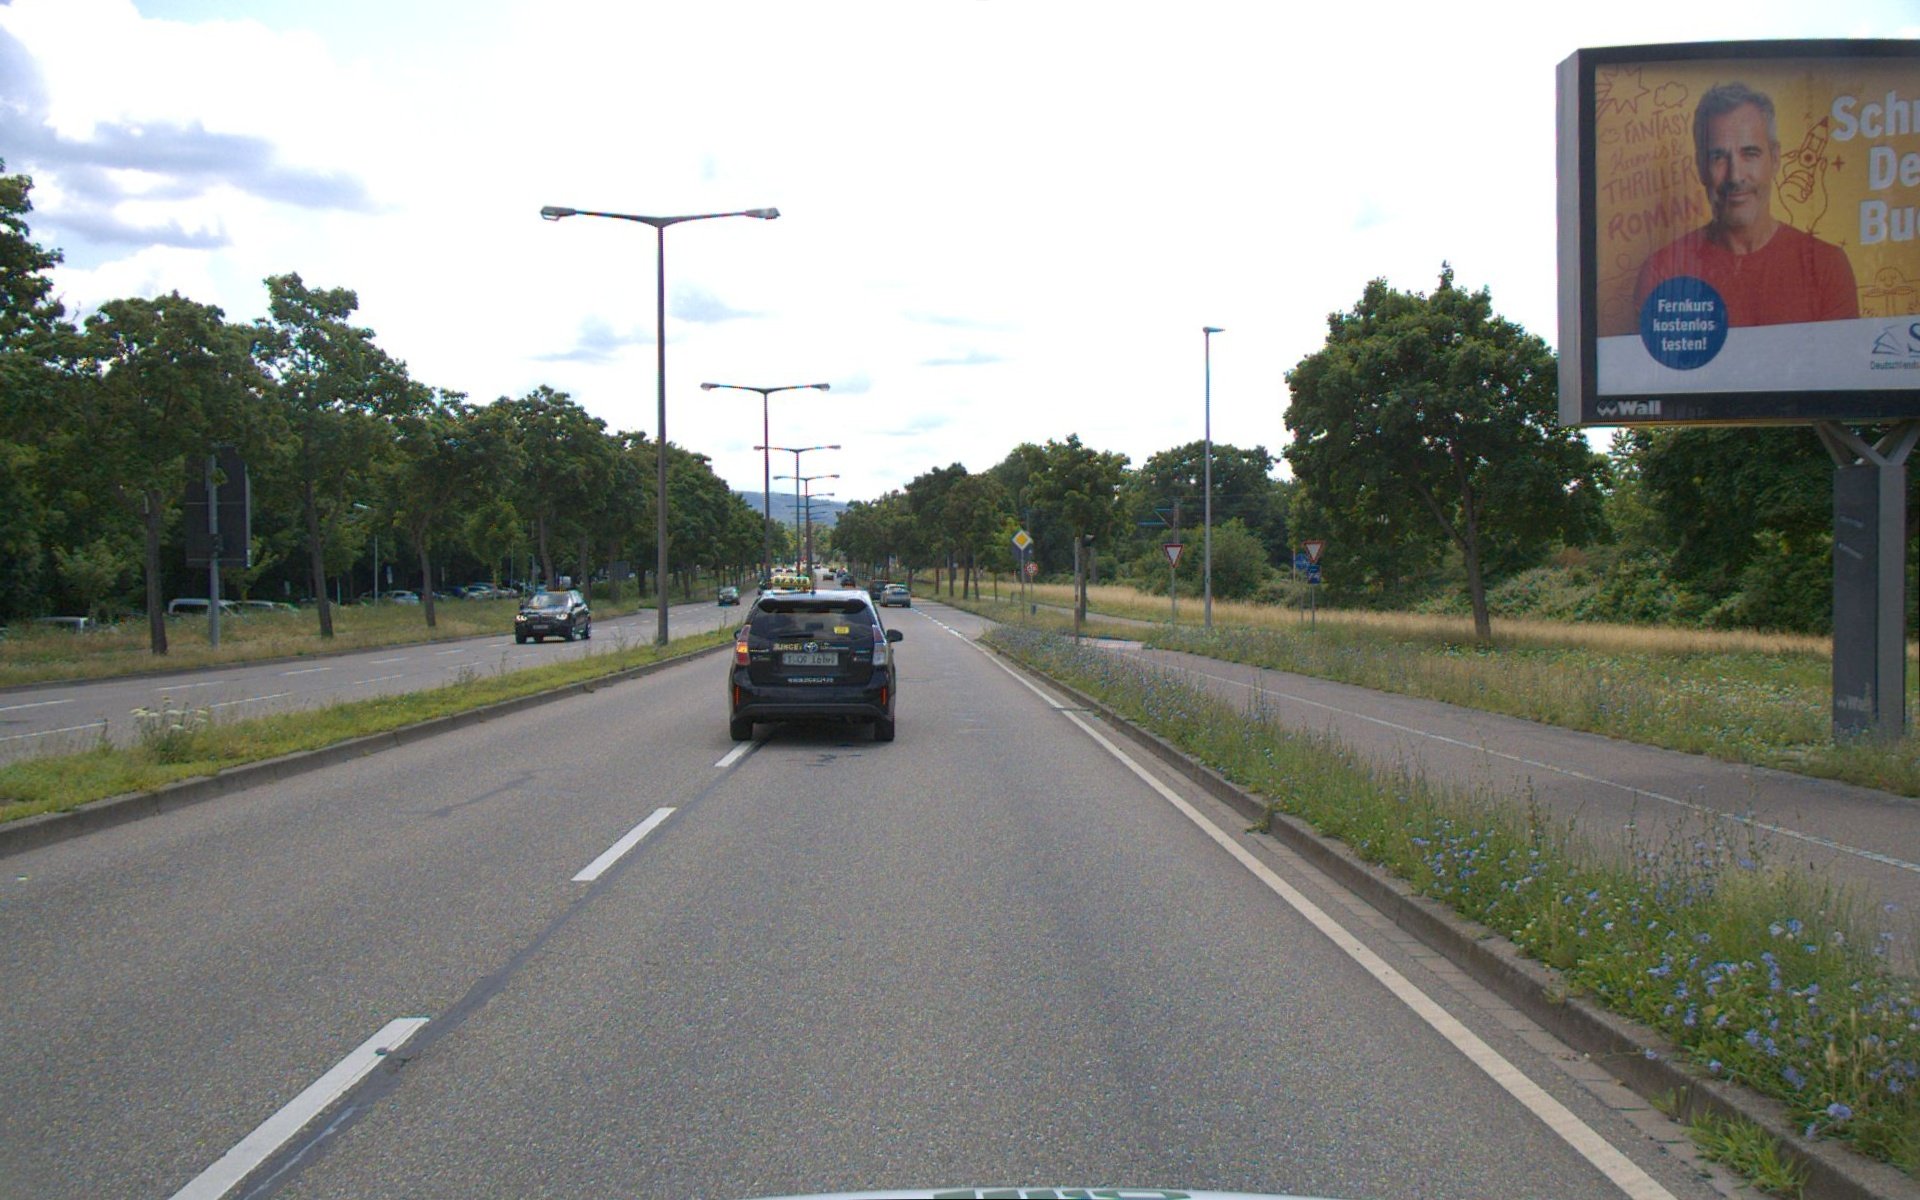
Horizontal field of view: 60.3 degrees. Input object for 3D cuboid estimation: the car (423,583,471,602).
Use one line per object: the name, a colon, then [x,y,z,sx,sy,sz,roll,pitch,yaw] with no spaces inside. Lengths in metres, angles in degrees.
car: [-46.518,-0.680,150.018,3.708,1.595,1.785,1,1,-1]

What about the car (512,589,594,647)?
car: [-14.040,0.599,57.280,1.839,1.821,4.725,-2,0,-3]

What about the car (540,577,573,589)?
car: [-51.629,-2.183,211.698,3.708,1.412,1.785,1,1,-1]

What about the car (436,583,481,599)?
car: [-47.144,-0.848,155.596,3.708,1.412,1.785,1,1,-1]

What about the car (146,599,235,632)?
car: [-41.608,0.834,89.511,3.910,1.653,1.998,1,1,-6]

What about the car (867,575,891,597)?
car: [-6.672,-1.156,135.818,1.954,1.691,3.998,1,1,-4]

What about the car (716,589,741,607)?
car: [-18.273,-0.158,130.237,1.671,1.452,3.663,-1,0,-13]

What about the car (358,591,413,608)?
car: [-45.021,-0.026,129.742,3.709,1.269,1.785,1,1,-3]

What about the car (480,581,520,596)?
car: [-48.437,-1.209,174.330,3.708,1.412,1.785,1,1,-1]

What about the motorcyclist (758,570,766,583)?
motorcyclist: [-23.527,-2.782,196.614,0.810,1.438,1.327,1,1,-4]

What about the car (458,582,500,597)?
car: [-48.085,-1.074,165.308,3.708,1.412,1.785,1,1,-1]

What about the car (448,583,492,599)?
car: [-47.258,-0.875,159.586,3.708,1.412,1.785,1,1,-1]

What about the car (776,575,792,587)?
car: [-21.084,-2.282,198.286,1.775,1.422,4.730,-1,1,-4]

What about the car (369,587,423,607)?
car: [-45.087,-0.257,132.236,3.711,1.453,1.784,1,1,-5]

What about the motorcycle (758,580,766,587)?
motorcycle: [-23.561,-1.985,196.734,0.737,0.785,2.670,1,1,-4]

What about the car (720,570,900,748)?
car: [-1.614,0.548,18.333,1.744,1.713,3.997,1,1,-4]

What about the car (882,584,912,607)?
car: [-4.696,-0.343,122.020,1.955,1.534,3.996,1,1,-6]

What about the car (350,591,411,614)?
car: [-41.038,0.193,117.169,3.709,1.534,1.785,1,1,-3]
